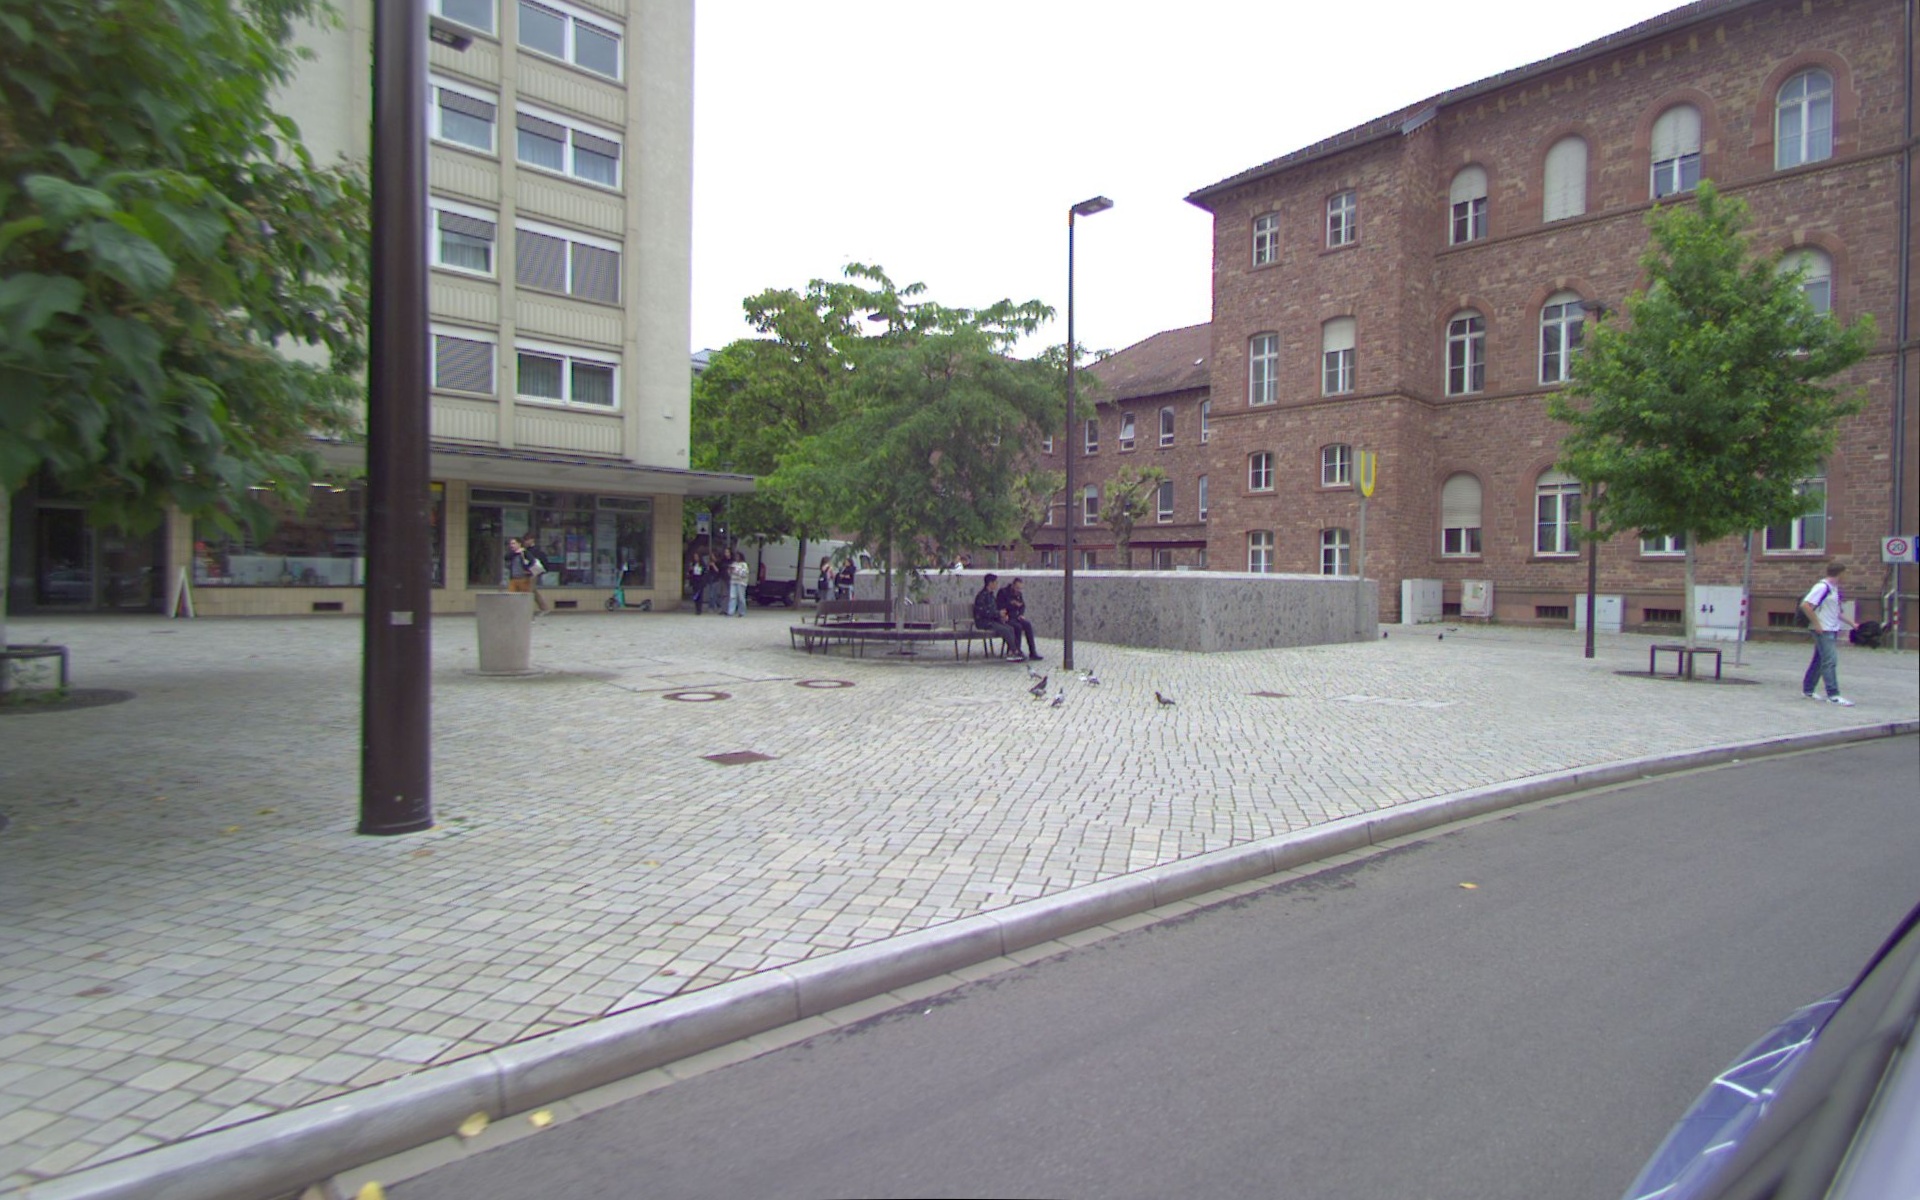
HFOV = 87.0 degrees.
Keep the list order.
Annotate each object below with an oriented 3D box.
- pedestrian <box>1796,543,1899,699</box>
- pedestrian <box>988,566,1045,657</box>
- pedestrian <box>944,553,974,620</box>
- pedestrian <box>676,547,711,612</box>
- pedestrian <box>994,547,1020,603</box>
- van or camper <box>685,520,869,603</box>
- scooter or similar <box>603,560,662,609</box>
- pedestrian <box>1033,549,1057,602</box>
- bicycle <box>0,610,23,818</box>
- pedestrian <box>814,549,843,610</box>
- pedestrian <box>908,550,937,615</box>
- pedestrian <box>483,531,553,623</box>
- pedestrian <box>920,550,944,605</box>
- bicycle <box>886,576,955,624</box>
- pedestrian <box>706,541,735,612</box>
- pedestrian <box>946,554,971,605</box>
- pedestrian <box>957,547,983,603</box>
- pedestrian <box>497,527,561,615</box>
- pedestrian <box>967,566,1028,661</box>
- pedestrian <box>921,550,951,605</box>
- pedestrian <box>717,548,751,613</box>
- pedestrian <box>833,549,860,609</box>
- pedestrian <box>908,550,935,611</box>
[{"bbox_3d":[11.489,0.238,13.109,0.760,1.925,0.870,0,2,-43],"label":"pedestrian"},{"bbox_3d":[0.976,0.173,17.366,0.770,1.473,0.764,3,3,18],"label":"pedestrian"},{"bbox_3d":[-0.035,-0.349,26.063,0.579,1.691,0.515,2,0,-22],"label":"pedestrian"},{"bbox_3d":[-6.678,-0.510,25.399,0.583,1.606,0.640,2,0,15],"label":"pedestrian"},{"bbox_3d":[1.437,-0.774,30.978,0.579,1.691,0.515,2,0,-19],"label":"pedestrian"},{"bbox_3d":[-6.451,-1.324,36.388,6.449,2.754,1.996,-1,1,-43],"label":"van or camper"},{"bbox_3d":[-8.353,-0.402,25.800,1.406,1.218,0.503,1,3,-18],"label":"scooter or similar"},{"bbox_3d":[2.755,-0.802,32.884,0.579,1.691,0.515,2,0,-21],"label":"pedestrian"},{"bbox_3d":[-5.313,0.640,4.993,0.632,1.137,1.922,0,0,-31],"label":"bicycle"},{"bbox_3d":[-3.705,-0.588,28.520,0.579,1.691,0.644,2,1,-27],"label":"pedestrian"},{"bbox_3d":[-1.009,-0.470,27.156,0.579,1.691,0.515,2,0,-19],"label":"pedestrian"},{"bbox_3d":[-8.946,-0.468,20.502,0.769,1.794,1.053,3,2,37],"label":"pedestrian"},{"bbox_3d":[-1.002,-0.797,35.808,0.662,1.913,0.525,0,0,44],"label":"pedestrian"},{"bbox_3d":[-0.993,-0.022,24.917,0.462,1.077,2.027,0,3,-43],"label":"bicycle"},{"bbox_3d":[-6.172,-0.613,26.099,0.630,1.790,0.592,2,0,-6],"label":"pedestrian"},{"bbox_3d":[-0.046,-0.736,35.874,0.660,1.779,0.623,0,0,39],"label":"pedestrian"},{"bbox_3d":[0.306,-0.769,31.033,0.579,1.691,0.515,2,0,-21],"label":"pedestrian"},{"bbox_3d":[-9.678,-0.652,22.734,0.766,1.925,1.056,2,2,30],"label":"pedestrian"},{"bbox_3d":[0.627,0.201,16.669,0.770,1.473,0.764,3,3,18],"label":"pedestrian"},{"bbox_3d":[-0.900,-0.842,37.895,0.806,2.039,0.759,0,0,-39],"label":"pedestrian"},{"bbox_3d":[-5.664,-0.494,25.386,0.583,1.606,0.640,2,0,15],"label":"pedestrian"},{"bbox_3d":[-3.271,-0.604,29.227,0.579,1.691,0.645,2,0,-22],"label":"pedestrian"},{"bbox_3d":[-1.091,-0.548,28.625,0.579,1.691,0.515,2,0,-22],"label":"pedestrian"}]
